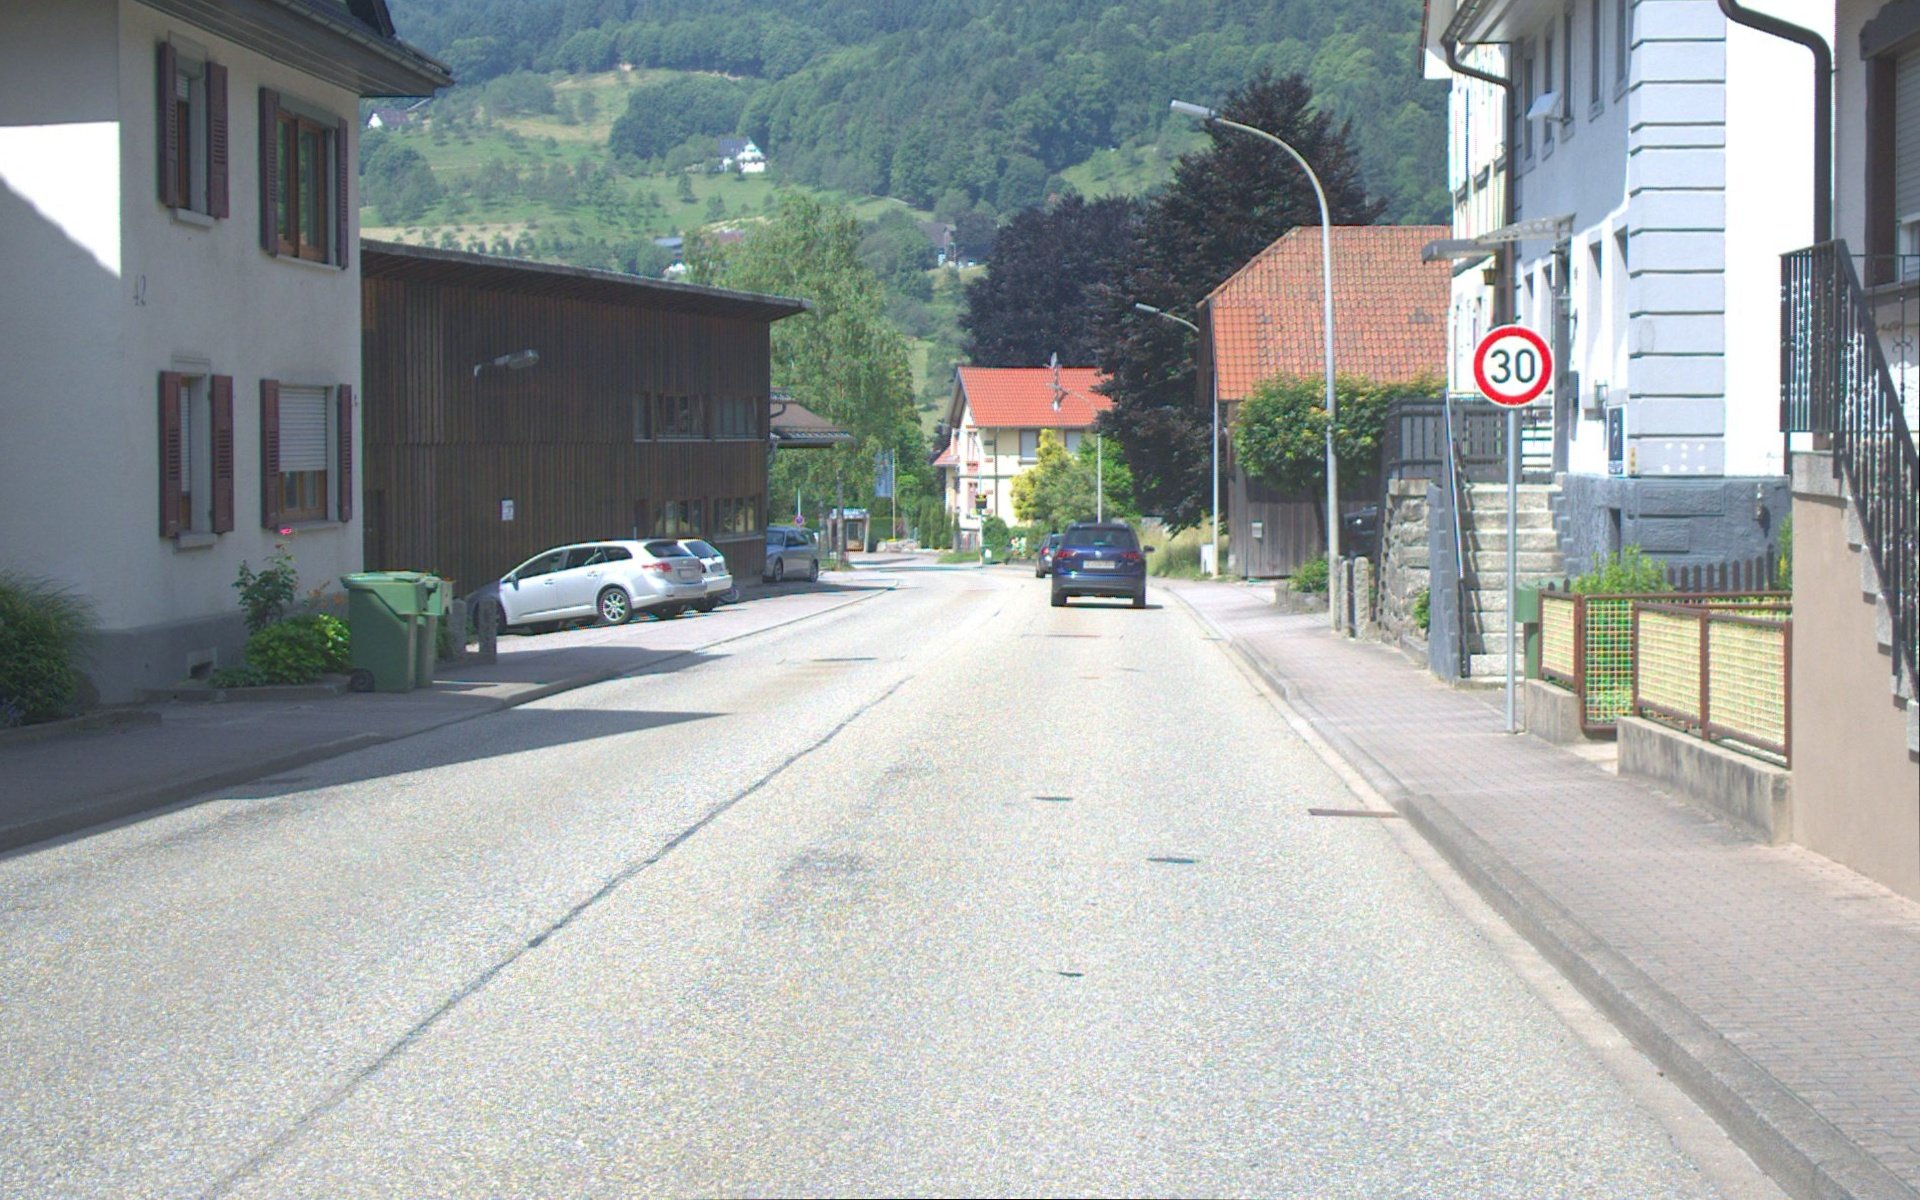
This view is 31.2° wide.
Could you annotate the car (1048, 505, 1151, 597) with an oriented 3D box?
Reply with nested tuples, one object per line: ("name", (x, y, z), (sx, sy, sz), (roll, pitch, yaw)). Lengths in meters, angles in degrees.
("car", (2.688, -0.955, 66.703), (1.919, 1.692, 3.788), (-1, 1, 2))

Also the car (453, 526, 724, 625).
("car", (-6.679, -0.436, 61.695), (4.436, 1.469, 1.922), (-3, 1, 28))

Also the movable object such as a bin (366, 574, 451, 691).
("movable object such as a bin", (-5.122, 0.300, 31.973), (0.676, 1.063, 0.621), (0, 1, 1))

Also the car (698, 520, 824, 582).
("car", (-5.058, -1.282, 88.149), (1.730, 1.449, 4.801), (1, 2, 16))

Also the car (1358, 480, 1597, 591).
("car", (9.629, -1.206, 64.225), (4.221, 1.681, 1.776), (-5, 1, 6))

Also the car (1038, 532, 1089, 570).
("car", (3.390, -1.609, 112.986), (1.477, 1.205, 2.384), (-1, 1, -2))

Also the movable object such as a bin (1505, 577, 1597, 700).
("movable object such as a bin", (4.999, 0.322, 29.101), (0.704, 1.017, 0.618), (-1, 1, 4))

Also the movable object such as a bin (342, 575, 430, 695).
("movable object such as a bin", (-5.213, 0.315, 31.249), (0.676, 1.063, 0.653), (0, 1, 1))

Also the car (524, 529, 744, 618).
("car", (-6.125, -0.502, 64.623), (3.662, 1.381, 1.709), (-4, 0, 18))
